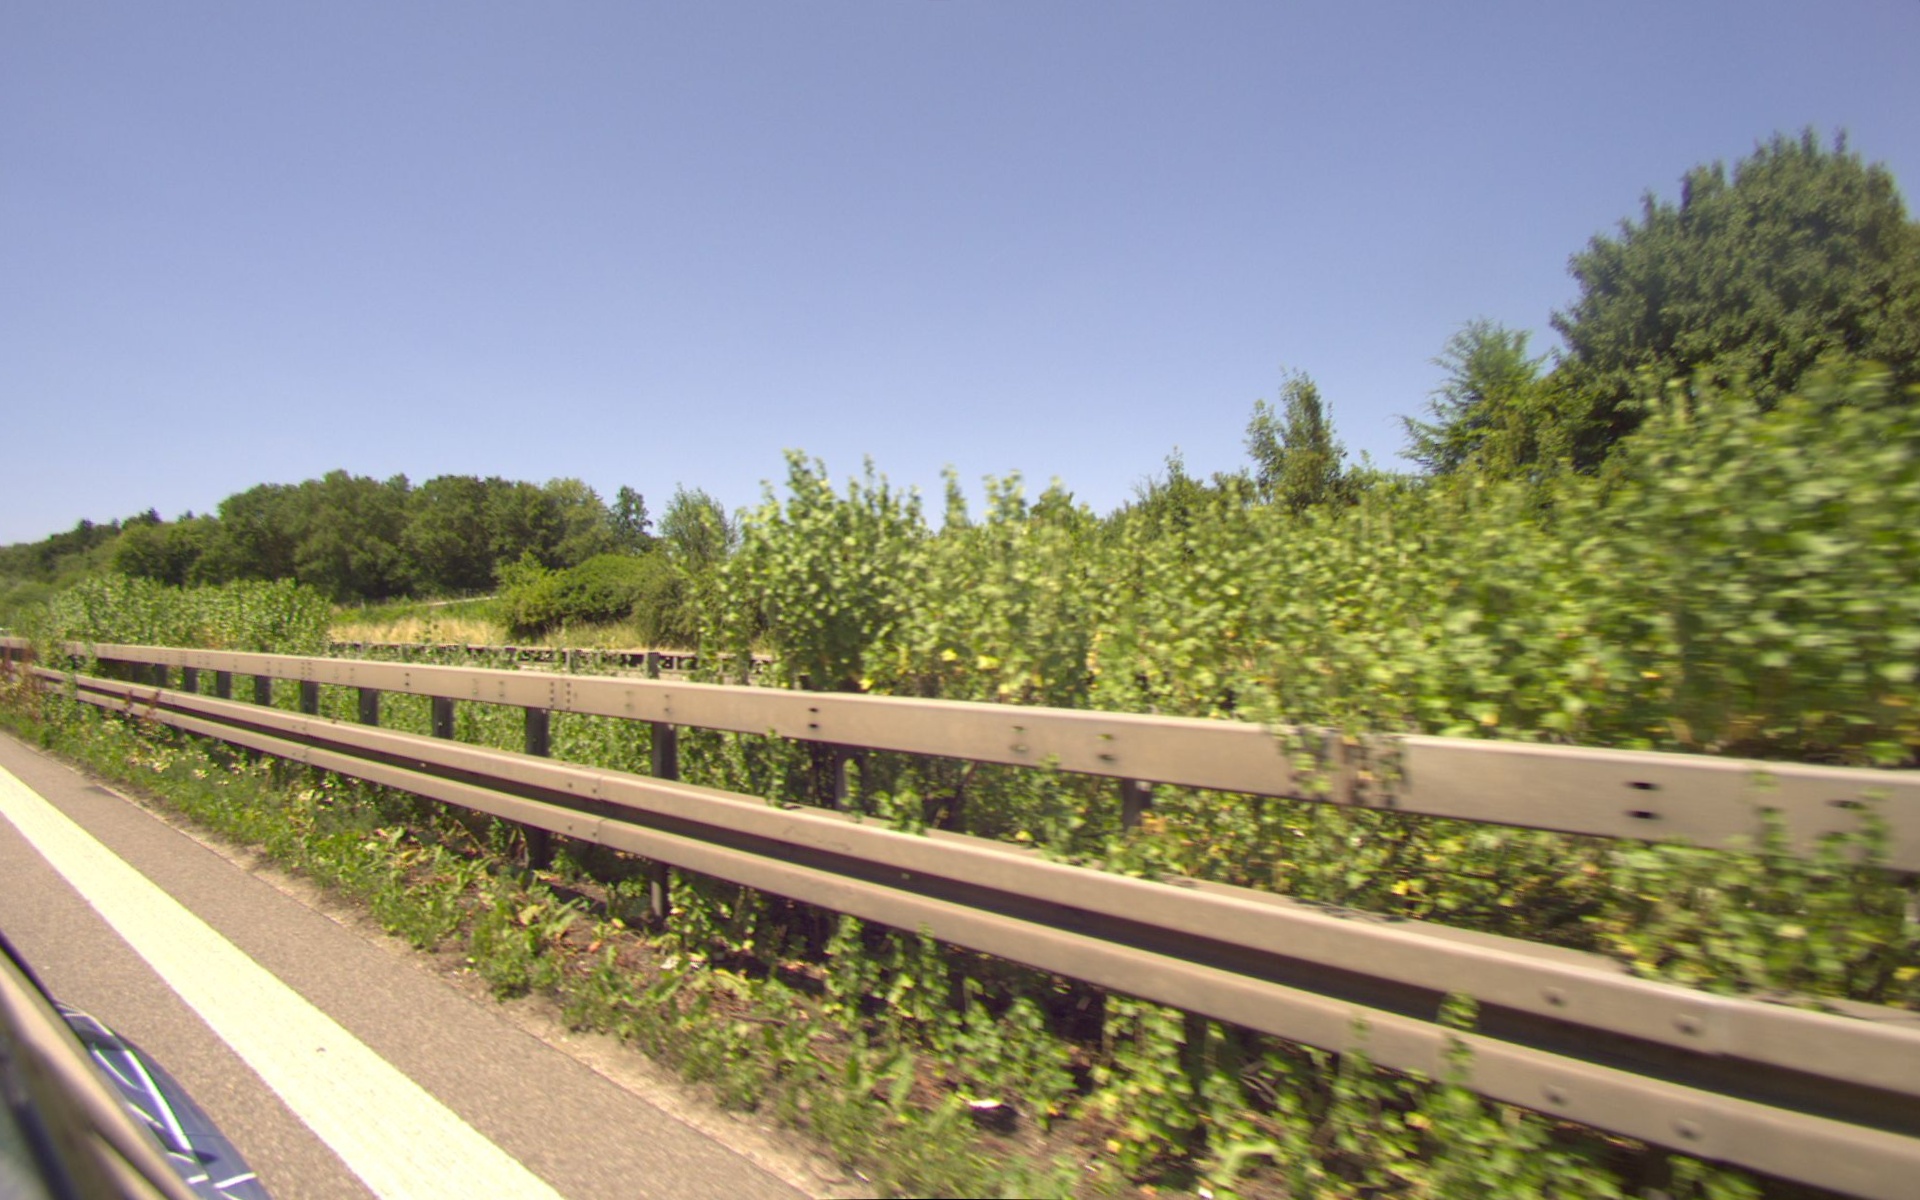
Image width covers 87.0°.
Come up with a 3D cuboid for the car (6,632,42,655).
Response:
[{"bbox_3d":[-80.861,3.773,87.377,4.285,1.829,1.782,-3,-1,40],"label":"car"}]
